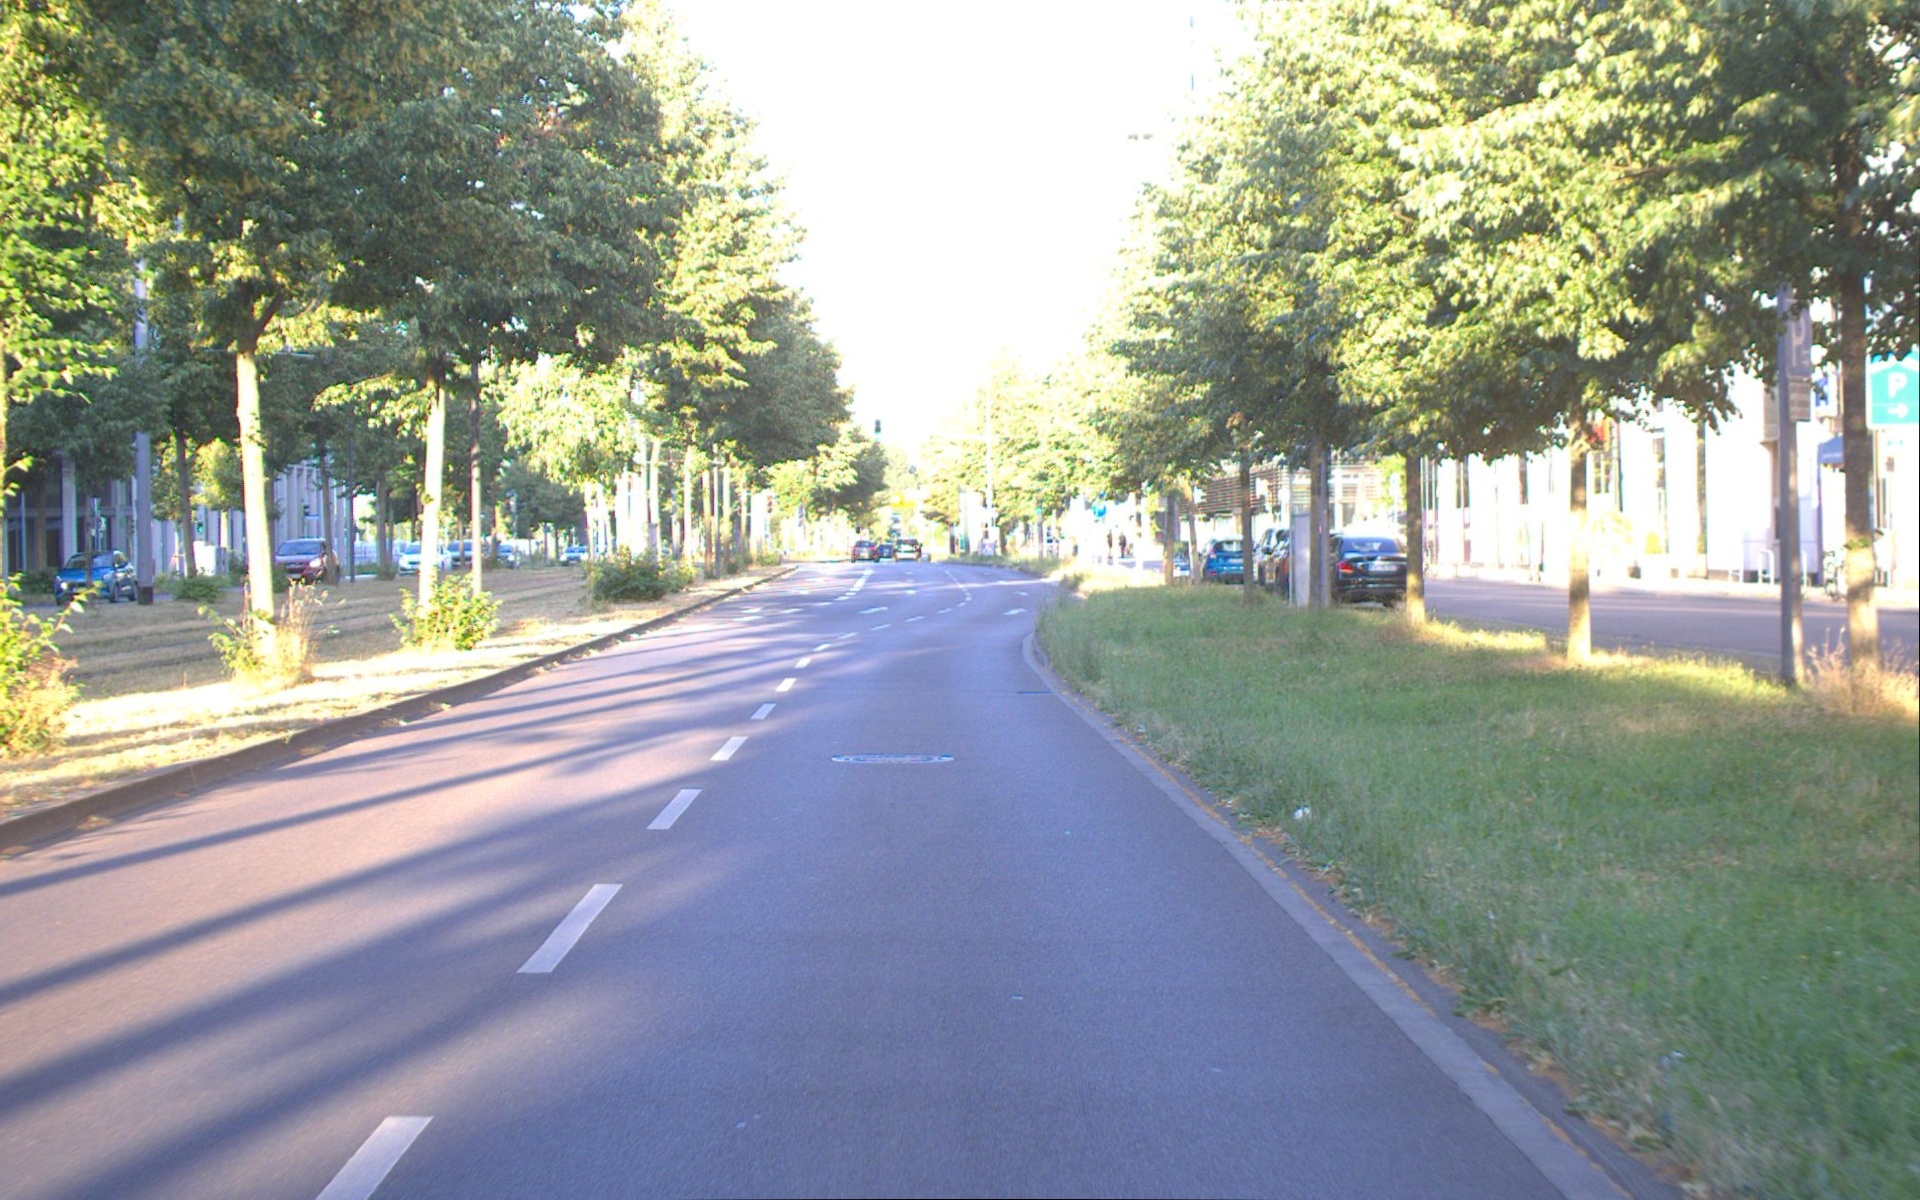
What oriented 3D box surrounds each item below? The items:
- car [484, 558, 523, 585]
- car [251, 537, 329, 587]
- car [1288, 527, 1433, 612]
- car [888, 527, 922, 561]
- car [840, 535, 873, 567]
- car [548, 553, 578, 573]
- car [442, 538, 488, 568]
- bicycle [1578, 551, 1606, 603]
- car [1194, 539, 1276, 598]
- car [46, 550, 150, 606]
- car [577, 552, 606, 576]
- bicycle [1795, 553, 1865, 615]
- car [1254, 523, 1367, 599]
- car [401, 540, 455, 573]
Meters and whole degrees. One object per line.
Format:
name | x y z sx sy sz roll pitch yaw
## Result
car | -24.829 -1.561 186.992 1.776 1.406 3.709 -1 1 -3
car | -22.153 -1.261 113.785 1.885 1.572 4.183 -1 1 -2
car | 7.580 -0.592 65.524 1.943 1.543 4.812 -1 1 -3
car | -3.331 -3.385 208.432 1.993 2.007 4.000 -1 1 -2
car | -6.733 -3.202 224.030 2.087 2.007 4.000 -1 1 -2
car | -27.248 -2.564 236.089 1.657 1.327 4.585 -1 1 -2
car | -23.046 -2.180 160.229 1.657 1.327 4.742 -1 1 -2
bicycle | 14.543 -0.540 79.146 0.571 1.120 1.833 -3 1 11
car | 7.304 -0.846 91.663 1.724 1.524 4.269 1 1 -1
car | -24.318 -0.643 97.125 1.918 1.503 4.287 -1 1 -1
car | -23.880 -2.331 222.728 1.804 1.541 3.535 -1 1 -5
bicycle | 14.816 -0.278 58.582 0.652 1.035 2.055 -1 1 -1
car | 7.406 -0.833 72.984 1.854 1.524 4.483 1 1 -1
car | -21.872 -1.786 141.439 1.657 1.327 4.531 -1 1 -2
